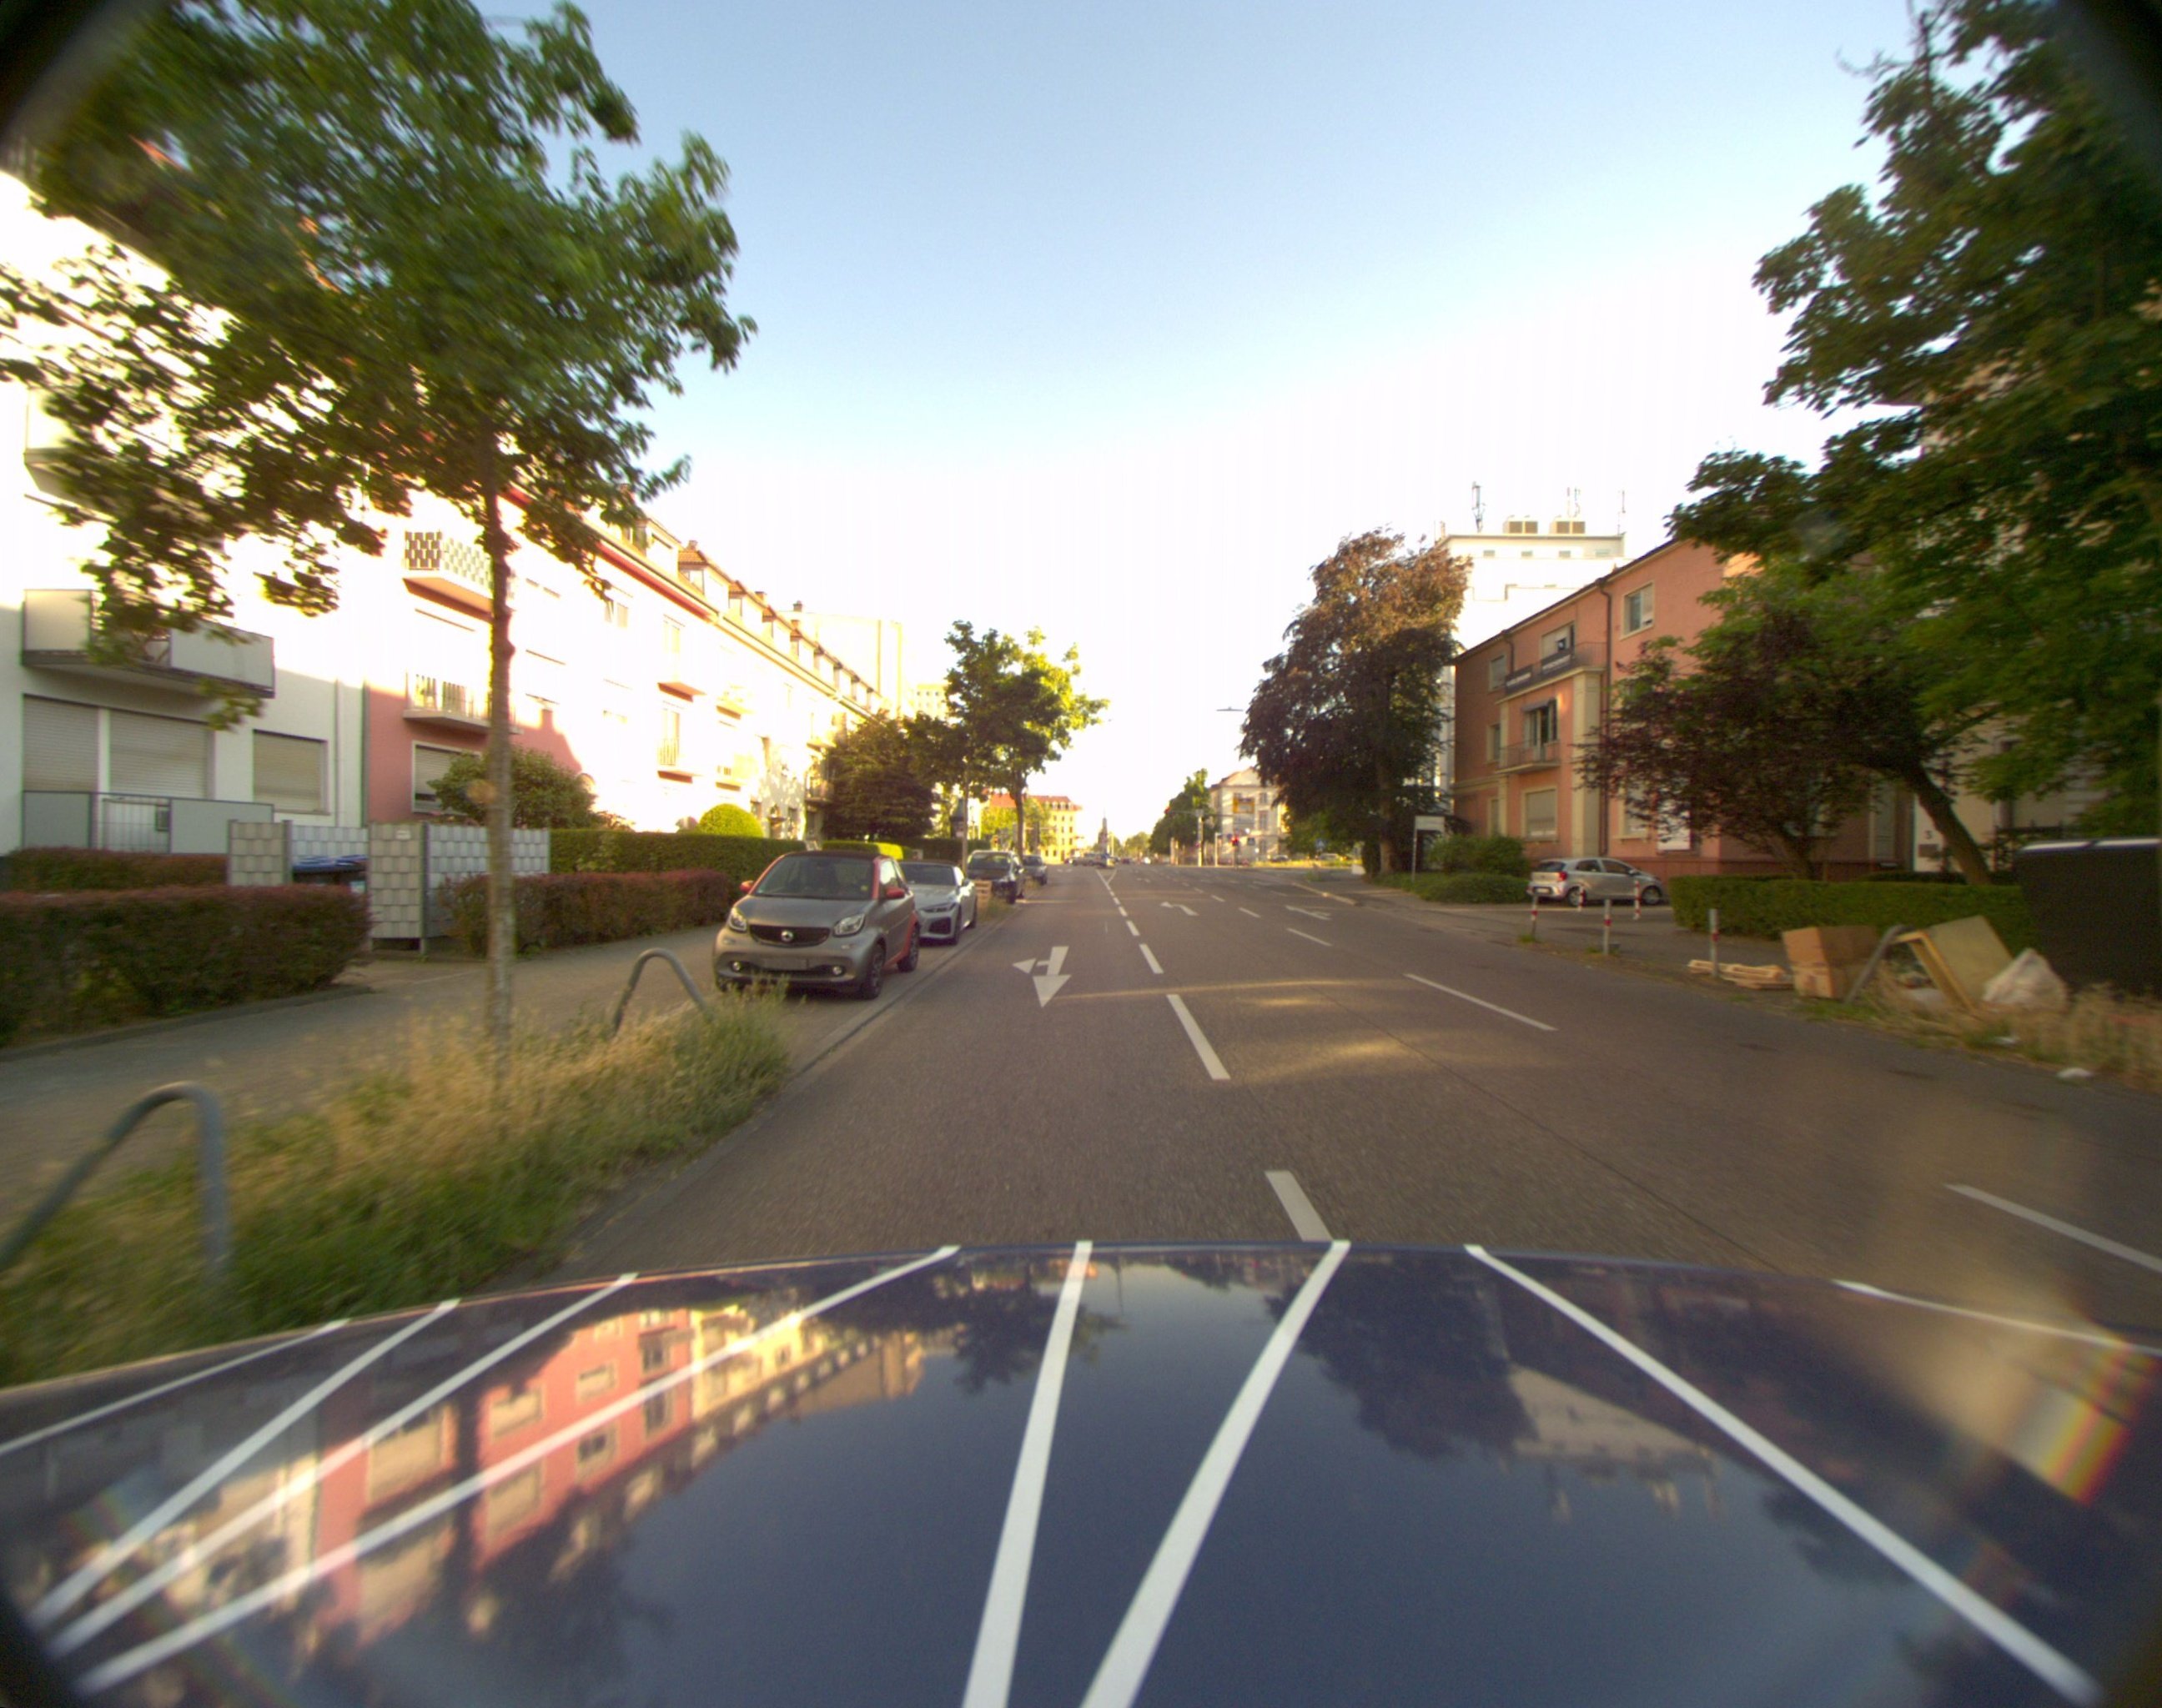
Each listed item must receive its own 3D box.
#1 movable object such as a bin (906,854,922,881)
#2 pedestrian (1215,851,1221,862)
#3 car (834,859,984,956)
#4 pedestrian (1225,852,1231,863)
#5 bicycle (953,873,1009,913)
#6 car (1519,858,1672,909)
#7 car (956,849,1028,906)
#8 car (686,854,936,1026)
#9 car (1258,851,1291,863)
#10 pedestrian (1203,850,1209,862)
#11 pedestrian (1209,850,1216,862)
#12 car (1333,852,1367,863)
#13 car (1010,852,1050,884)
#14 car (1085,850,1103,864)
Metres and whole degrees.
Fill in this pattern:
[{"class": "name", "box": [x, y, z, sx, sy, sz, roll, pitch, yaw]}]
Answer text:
[{"class": "movable object such as a bin", "box": [-7.975, 0.641, 36.342, 0.554, 1.232, 0.828, 0, 0, 1]}, {"class": "pedestrian", "box": [20.223, 0.323, 112.073, 0.621, 1.641, 0.889, 0, 0, -8]}, {"class": "car", "box": [-2.977, 0.846, 14.179, 1.925, 1.477, 4.744, 0, 0, -3]}, {"class": "pedestrian", "box": [21.679, 0.570, 112.071, 0.678, 1.641, 0.882, 0, 0, -8]}, {"class": "bicycle", "box": [-2.721, 1.043, 20.632, 1.482, 1.053, 0.411, 0, 0, -12]}, {"class": "car", "box": [15.670, 0.865, 23.258, 3.507, 1.477, 1.815, 0, 0, -3]}, {"class": "car", "box": [-2.736, 0.683, 24.268, 1.737, 1.641, 4.291, 0, 0, 1]}, {"class": "car", "box": [-2.994, 0.843, 9.329, 1.777, 1.633, 3.756, 0, 1, -1]}, {"class": "car", "box": [24.564, 0.351, 96.505, 3.645, 1.437, 1.999, 0, 0, -4]}, {"class": "pedestrian", "box": [19.272, 0.302, 117.055, 0.678, 1.698, 1.084, 0, 0, -8]}, {"class": "pedestrian", "box": [20.261, 0.259, 117.240, 0.821, 1.838, 1.169, 0, 0, -8]}, {"class": "car", "box": [34.542, 0.472, 97.598, 3.645, 1.437, 1.999, 0, 0, -4]}, {"class": "car", "box": [-2.533, 0.665, 38.255, 1.737, 1.542, 3.646, 0, 0, 1]}, {"class": "car", "box": [1.458, 0.375, 84.889, 1.832, 1.505, 4.605, 0, 0, 3]}]
